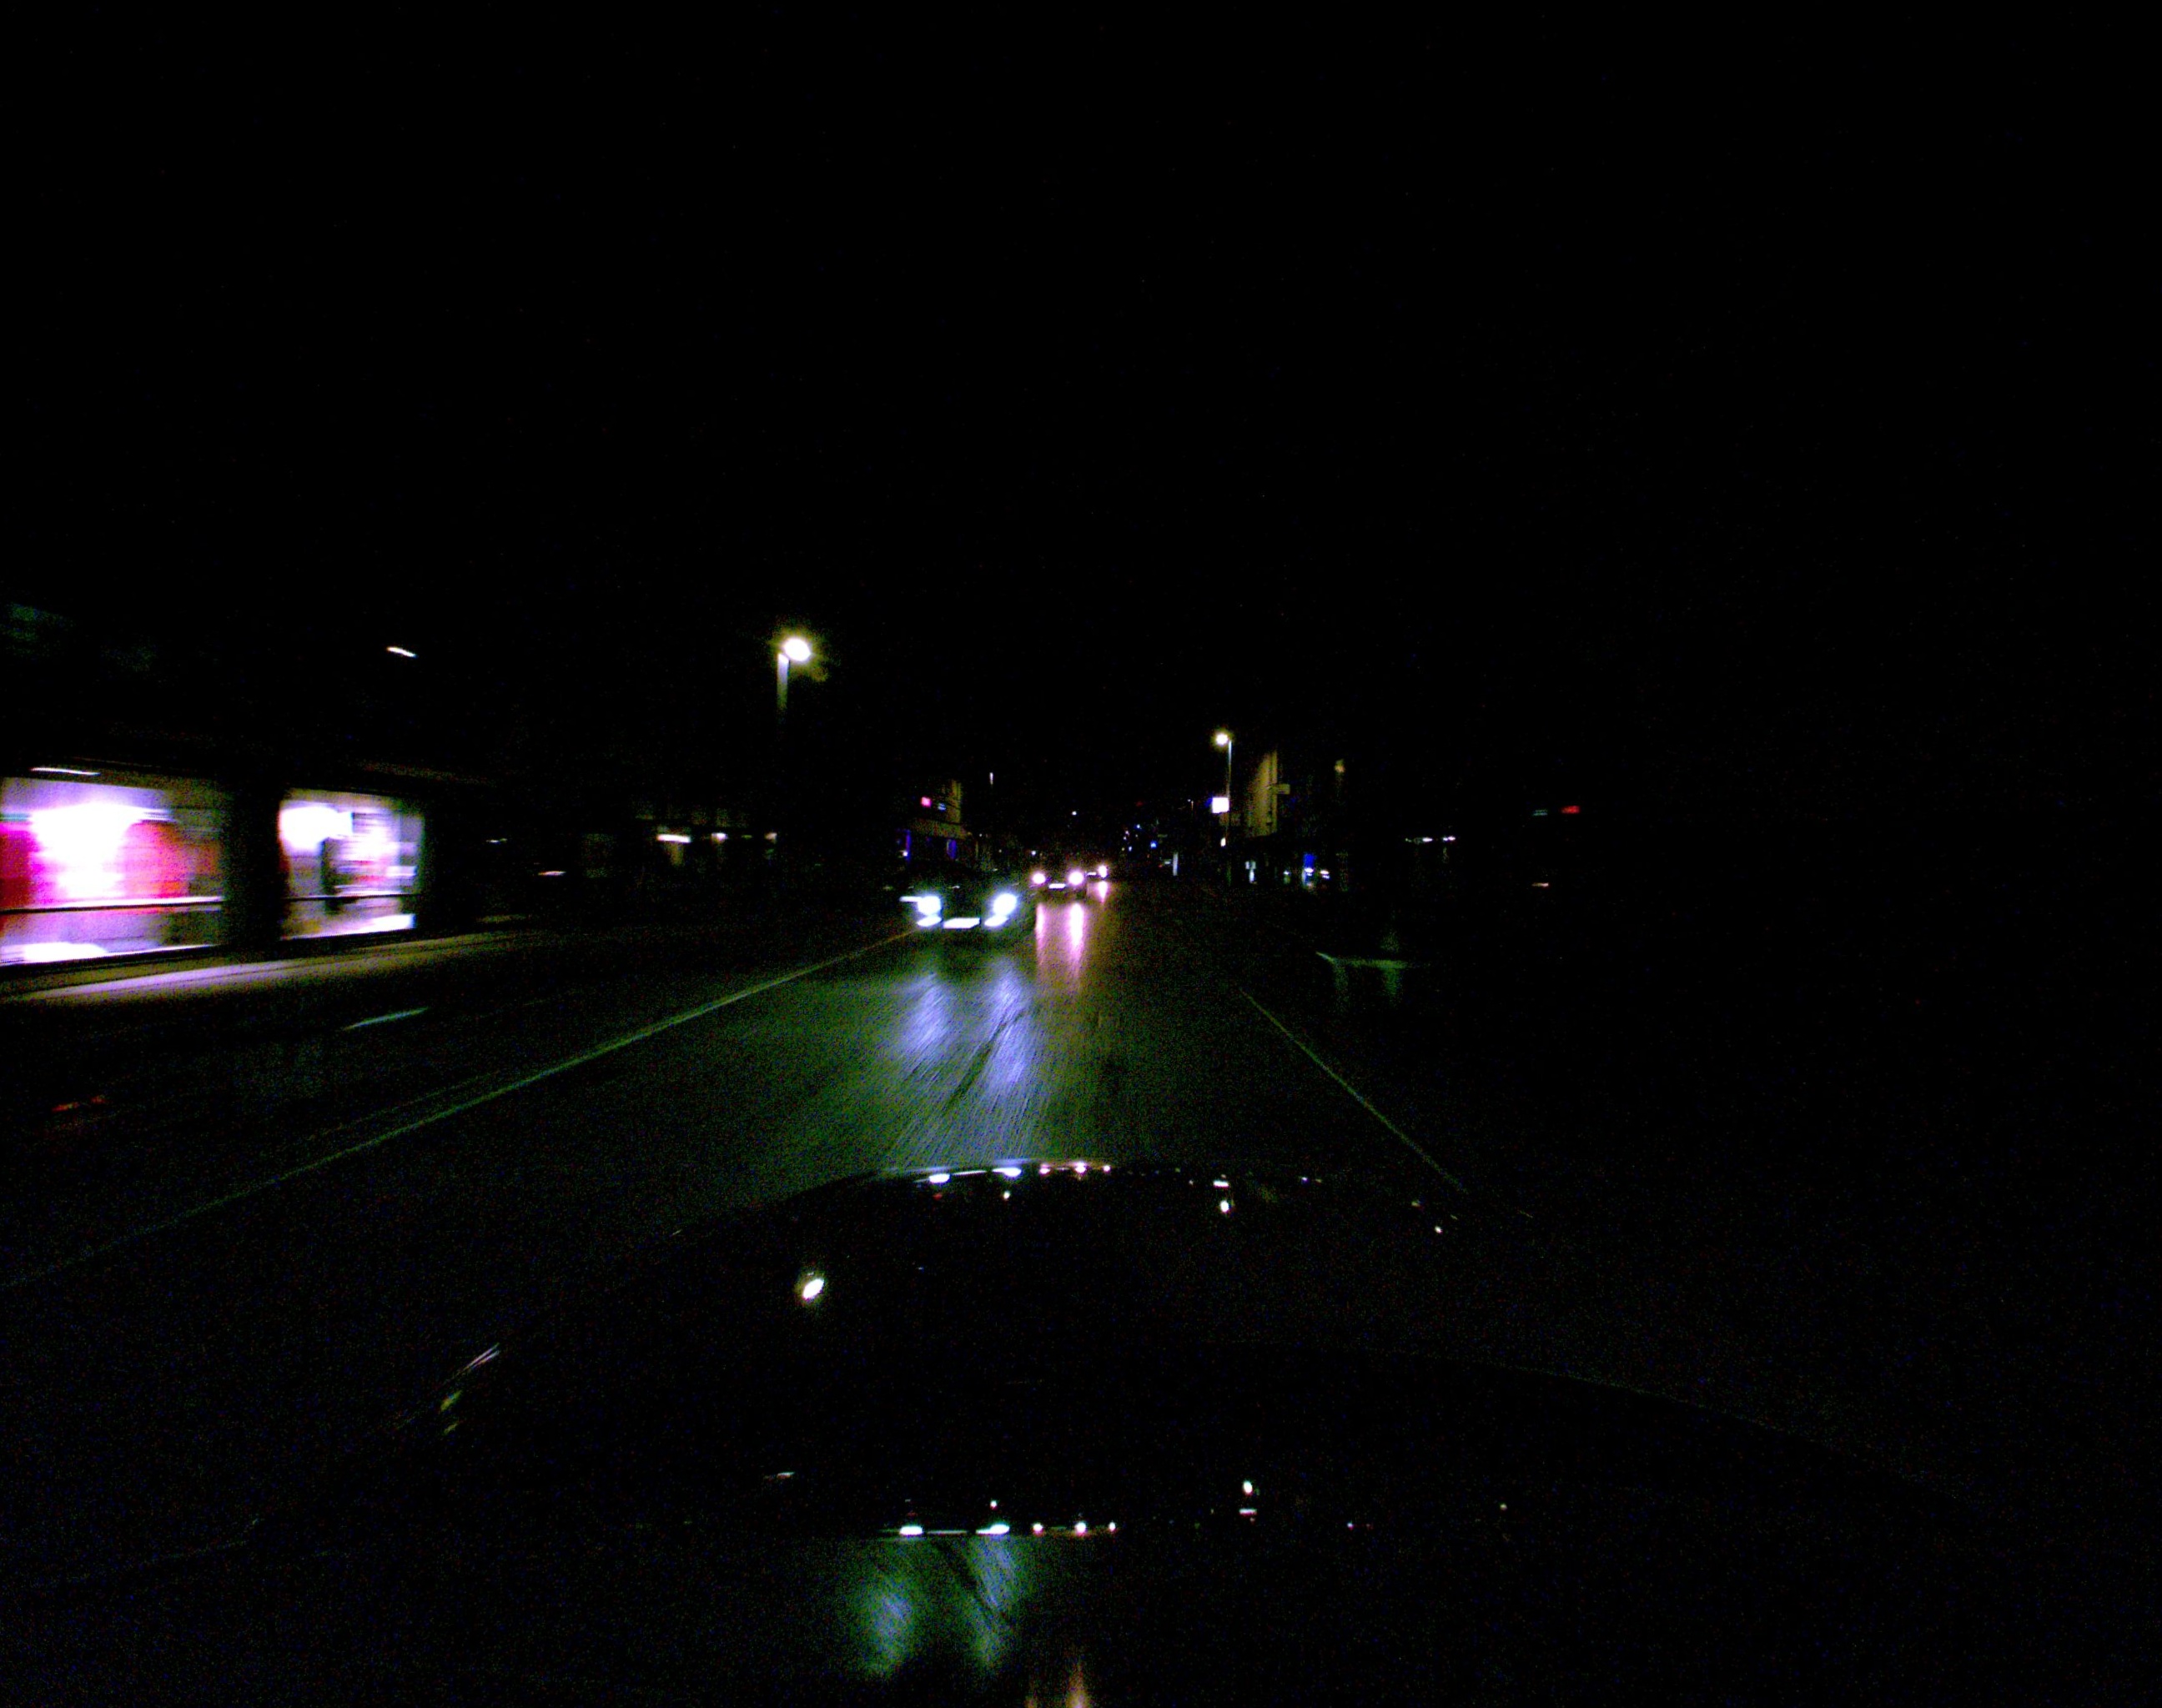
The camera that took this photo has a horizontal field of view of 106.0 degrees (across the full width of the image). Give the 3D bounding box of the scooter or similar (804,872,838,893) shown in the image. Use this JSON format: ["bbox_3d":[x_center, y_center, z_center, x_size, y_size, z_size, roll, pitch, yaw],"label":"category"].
[{"bbox_3d":[-9.897,1.087,31.012,1.092,0.781,0.524,0,0,-1],"label":"scooter or similar"}]

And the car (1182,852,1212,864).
[{"bbox_3d":[15.642,0.534,109.510,3.965,1.416,2.004,-1,-2,7],"label":"car"}]

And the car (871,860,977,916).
[{"bbox_3d":[-4.337,0.895,23.228,1.906,1.370,4.461,-1,0,3],"label":"car"}]

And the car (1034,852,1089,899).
[{"bbox_3d":[-0.707,0.779,31.774,1.768,1.652,4.368,-1,0,3],"label":"car"}]

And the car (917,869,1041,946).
[{"bbox_3d":[-1.885,0.973,16.260,1.716,1.247,4.240,-1,0,3],"label":"car"}]

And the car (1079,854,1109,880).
[{"bbox_3d":[0.891,0.811,53.784,1.768,1.652,4.368,-1,0,3],"label":"car"}]

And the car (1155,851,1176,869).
[{"bbox_3d":[7.891,0.537,76.562,1.768,1.652,4.367,-1,0,3],"label":"car"}]
